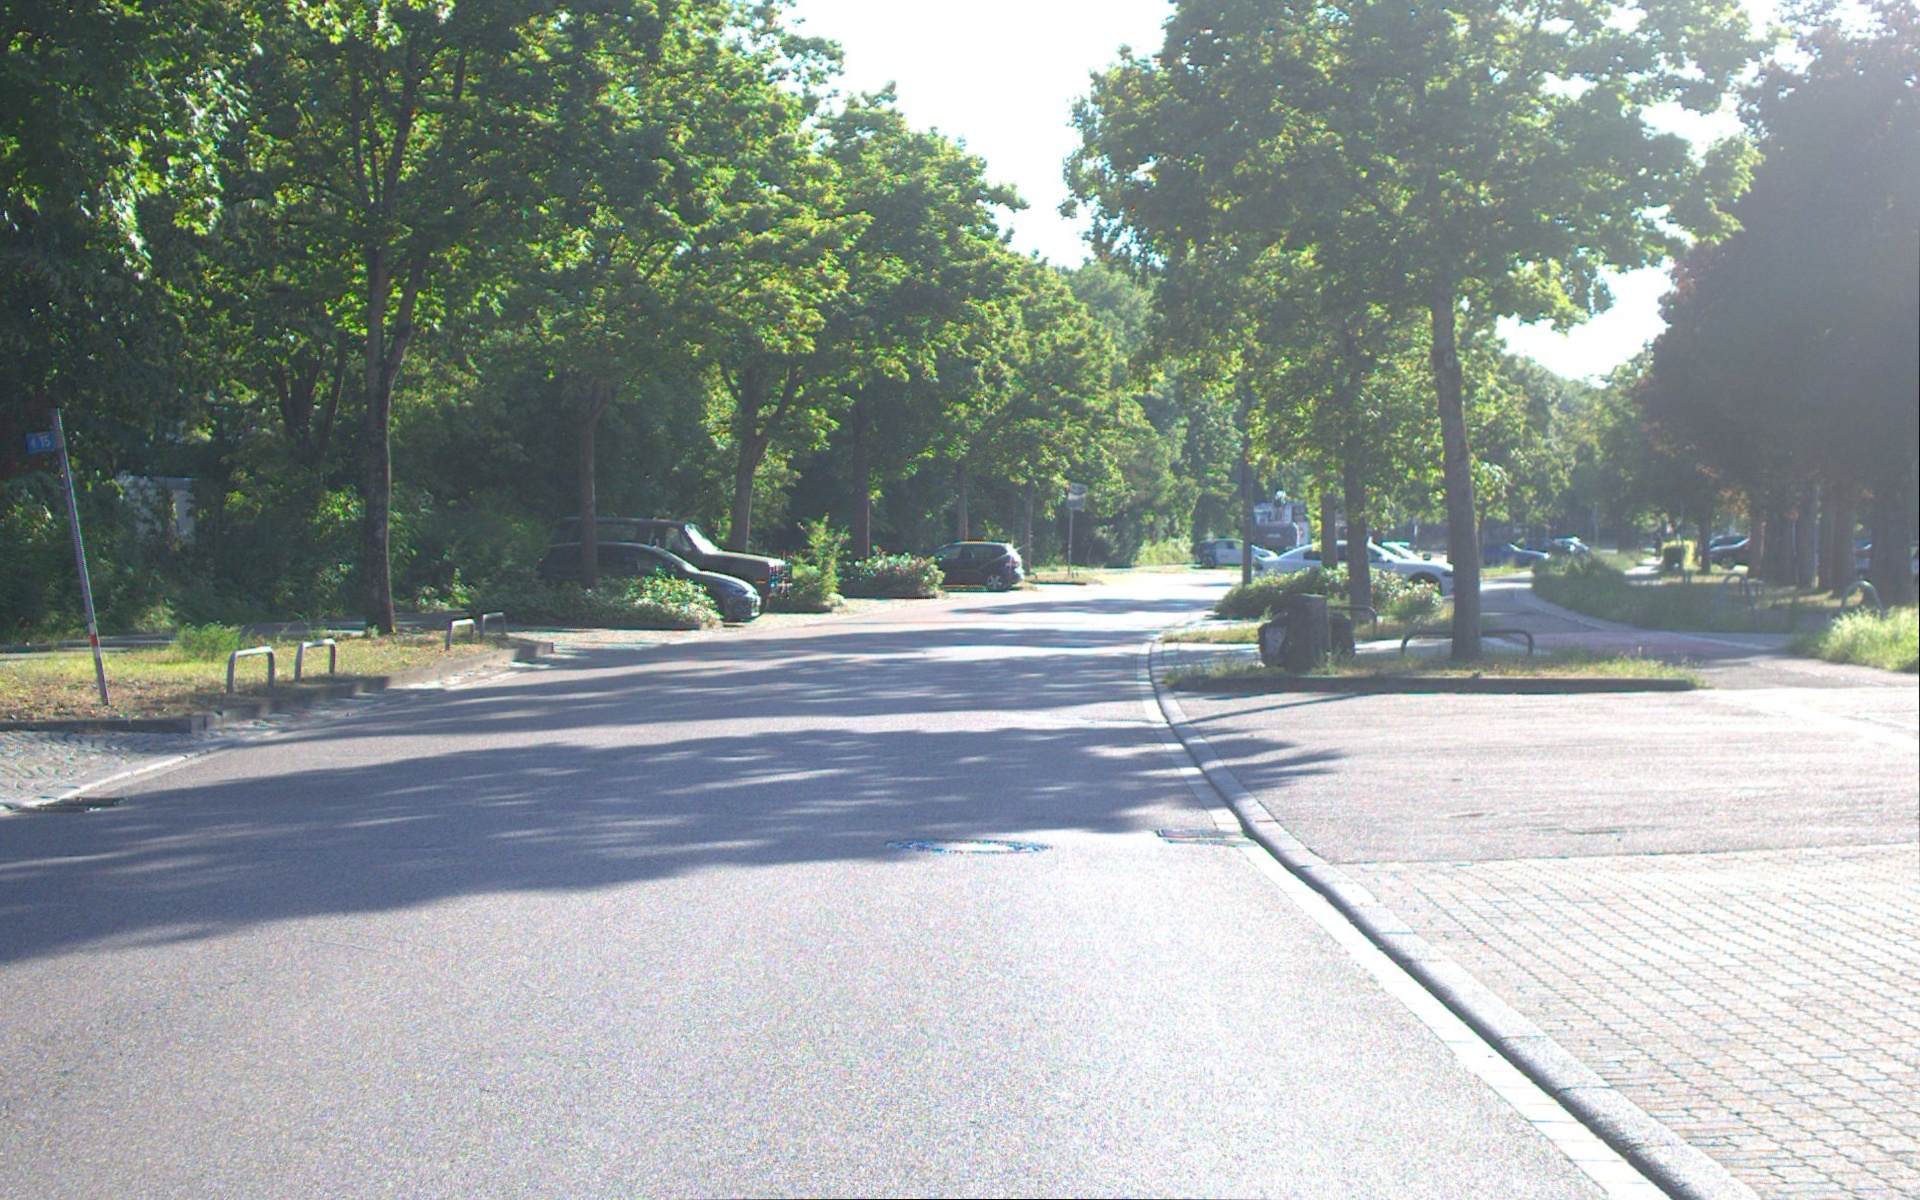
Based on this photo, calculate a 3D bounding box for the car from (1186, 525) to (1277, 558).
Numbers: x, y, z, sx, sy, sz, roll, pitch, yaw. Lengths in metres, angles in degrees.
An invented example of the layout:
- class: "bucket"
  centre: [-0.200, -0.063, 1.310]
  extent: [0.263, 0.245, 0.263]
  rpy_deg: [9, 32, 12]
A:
- class: "car"
  centre: [13.963, -3.016, 176.748]
  extent: [4.361, 1.542, 1.999]
  rpy_deg: [2, 1, 13]

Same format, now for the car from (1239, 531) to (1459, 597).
- class: "car"
  centre: [9.329, -0.873, 82.483]
  extent: [5.176, 1.568, 2.157]
  rpy_deg: [0, 1, 6]

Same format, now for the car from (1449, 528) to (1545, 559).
- class: "car"
  centre: [28.634, -3.030, 183.285]
  extent: [4.844, 1.474, 1.999]
  rpy_deg: [2, 1, 13]

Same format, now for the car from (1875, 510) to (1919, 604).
- class: "car"
  centre: [21.487, -0.851, 70.815]
  extent: [1.994, 1.927, 4.954]
  rpy_deg: [-1, 2, -35]

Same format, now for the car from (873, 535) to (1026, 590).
- class: "car"
  centre: [-0.304, -1.149, 104.822]
  extent: [4.360, 1.474, 1.999]
  rpy_deg: [2, 1, 9]

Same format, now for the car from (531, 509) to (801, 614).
- class: "car"
  centre: [-5.764, -0.772, 67.838]
  extent: [5.005, 2.013, 2.174]
  rpy_deg: [0, 1, 5]

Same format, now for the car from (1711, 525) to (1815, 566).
- class: "car"
  centre: [36.454, -2.486, 156.106]
  extent: [4.431, 1.700, 2.058]
  rpy_deg: [2, 1, 11]

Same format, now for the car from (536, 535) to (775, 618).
- class: "car"
  centre: [-5.655, -0.454, 64.072]
  extent: [4.212, 1.525, 1.705]
  rpy_deg: [0, 1, 5]

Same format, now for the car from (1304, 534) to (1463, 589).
- class: "car"
  centre: [12.644, -1.144, 102.564]
  extent: [4.362, 1.474, 1.998]
  rpy_deg: [-2, 0, 19]

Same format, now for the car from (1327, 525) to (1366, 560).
- class: "car"
  centre: [26.715, -3.983, 237.653]
  extent: [2.517, 2.378, 4.372]
  rpy_deg: [0, 1, 5]

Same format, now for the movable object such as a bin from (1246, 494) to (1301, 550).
- class: "movable object such as a bin"
  centre: [17.281, -4.288, 189.230]
  extent: [2.839, 3.058, 4.926]
  rpy_deg: [0, 1, 7]
